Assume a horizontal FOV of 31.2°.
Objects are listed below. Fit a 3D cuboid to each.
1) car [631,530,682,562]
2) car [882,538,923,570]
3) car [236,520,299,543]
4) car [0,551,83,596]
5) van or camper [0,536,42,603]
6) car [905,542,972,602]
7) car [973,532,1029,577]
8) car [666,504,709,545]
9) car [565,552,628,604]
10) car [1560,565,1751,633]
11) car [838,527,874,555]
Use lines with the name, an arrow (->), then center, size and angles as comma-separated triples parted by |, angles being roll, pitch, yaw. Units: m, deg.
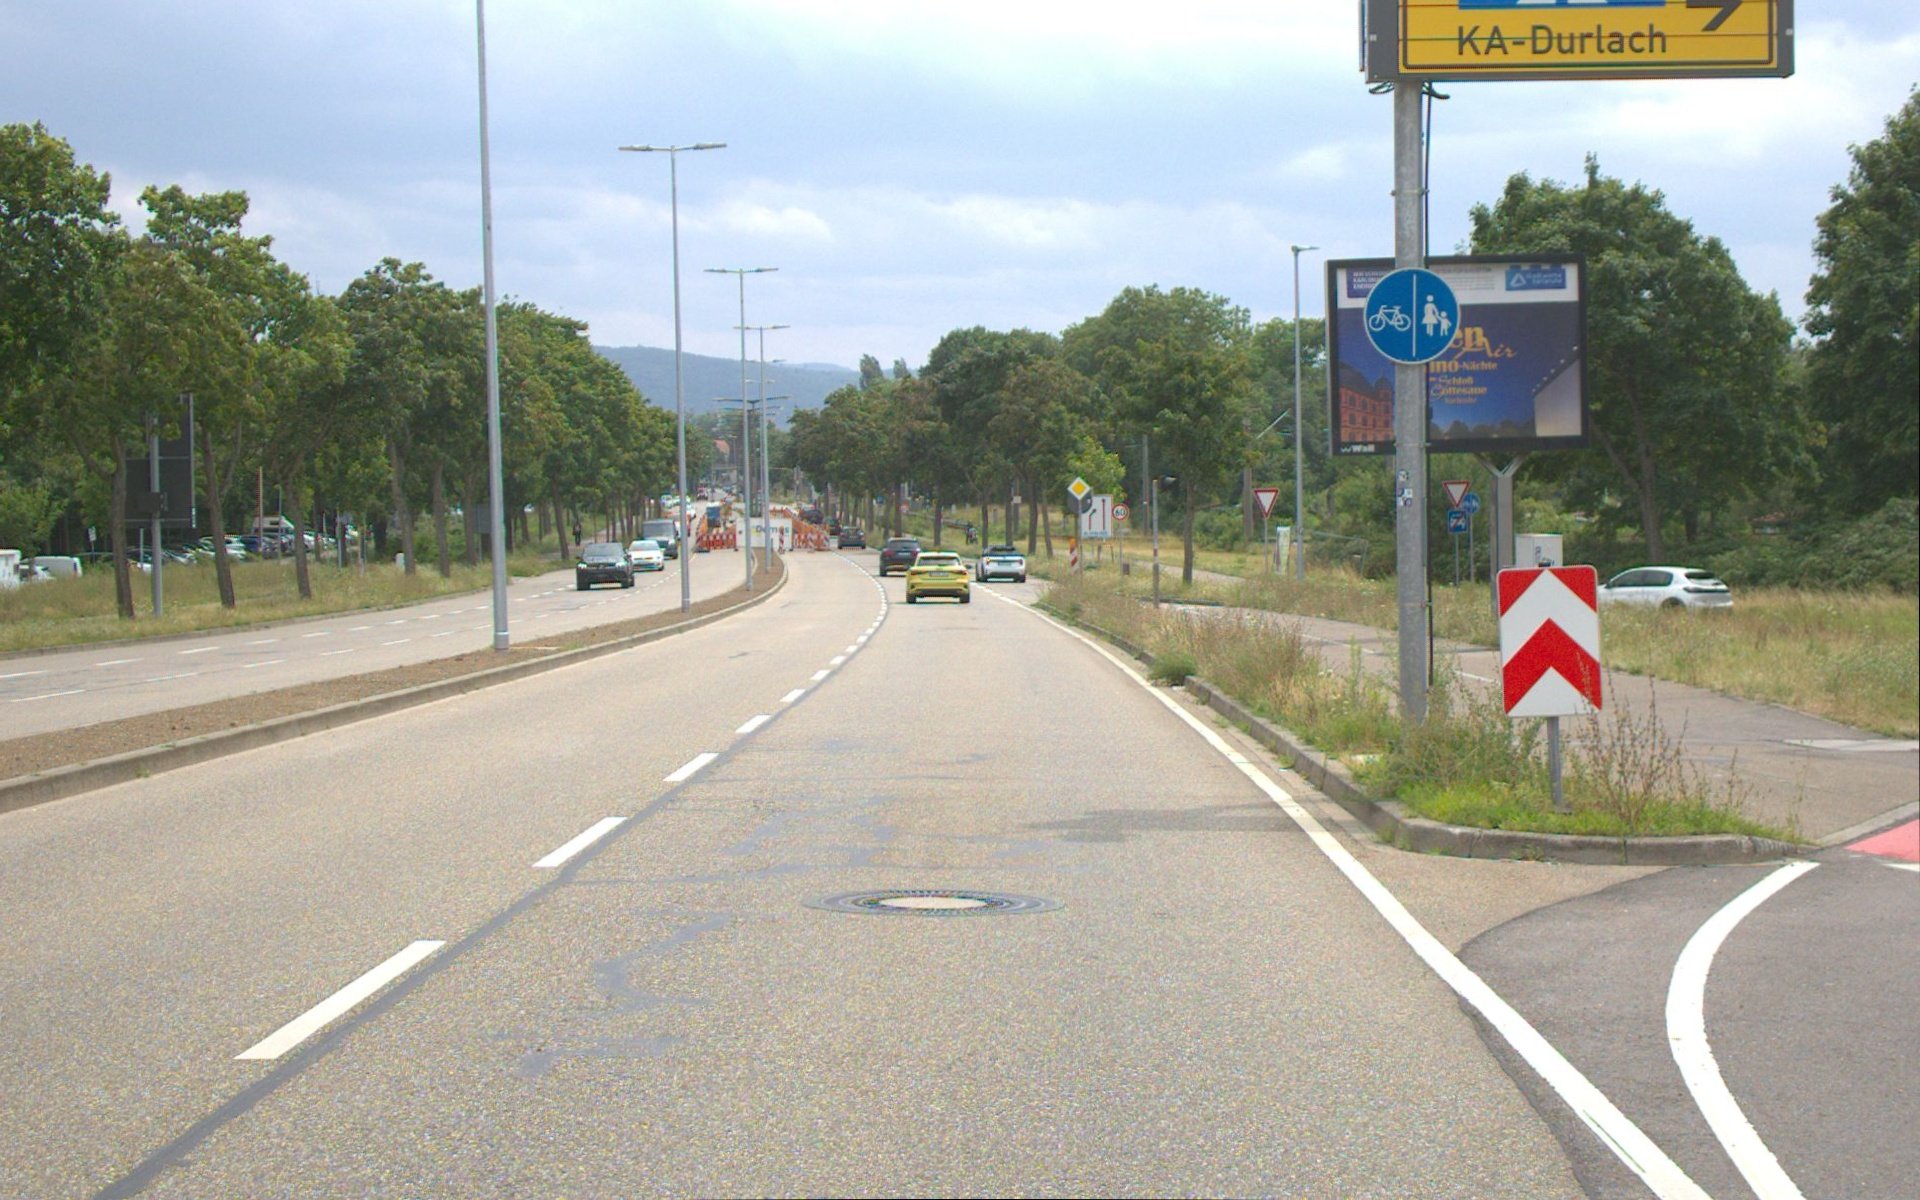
car -> -14.663, -2.631, 166.120 | 1.993, 1.426, 4.688 | -2, 2, 0
car -> -2.421, -1.952, 144.611 | 1.667, 1.265, 4.001 | -1, 2, -2
car -> -46.033, -4.550, 228.677 | 3.772, 1.421, 1.966 | -1, 2, 0
car -> -40.662, -1.173, 150.710 | 3.986, 1.880, 1.939 | -1, 2, -2
van or camper -> -38.670, -1.235, 137.149 | 2.471, 2.532, 6.722 | -1, 2, -2
car -> -0.624, -0.815, 97.671 | 1.793, 1.556, 4.001 | -1, 2, -2
car -> 1.588, -1.800, 134.750 | 2.013, 1.664, 4.001 | -1, 2, -2
car -> -15.337, -4.261, 193.823 | 2.095, 2.193, 6.005 | -2, 1, -2
car -> -13.897, -0.865, 131.718 | 1.993, 1.805, 4.798 | -2, 2, -1
car -> 16.178, -0.040, 80.057 | 3.997, 1.459, 1.768 | 1, 3, 41
car -> -6.637, -3.793, 220.061 | 2.206, 1.678, 4.001 | -1, 2, -1
